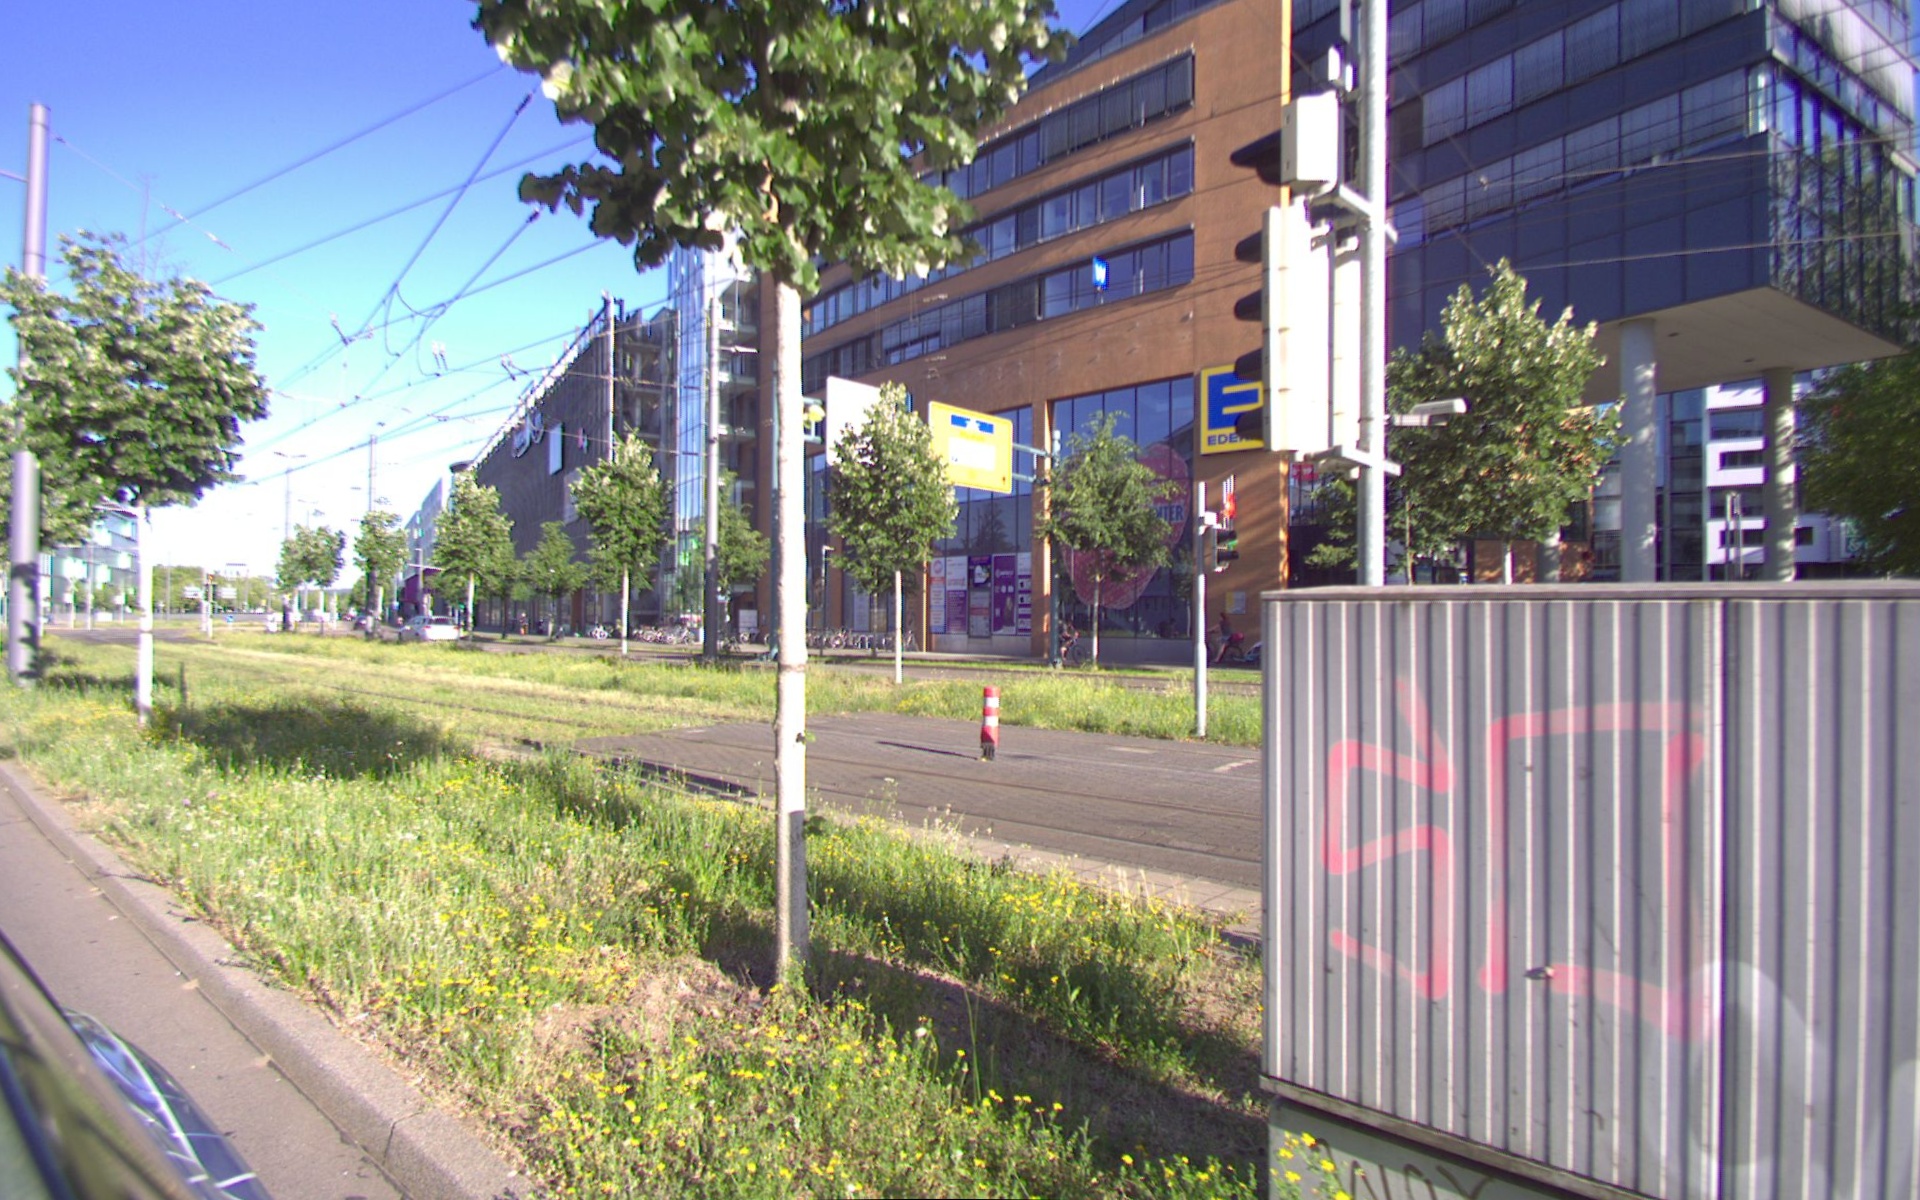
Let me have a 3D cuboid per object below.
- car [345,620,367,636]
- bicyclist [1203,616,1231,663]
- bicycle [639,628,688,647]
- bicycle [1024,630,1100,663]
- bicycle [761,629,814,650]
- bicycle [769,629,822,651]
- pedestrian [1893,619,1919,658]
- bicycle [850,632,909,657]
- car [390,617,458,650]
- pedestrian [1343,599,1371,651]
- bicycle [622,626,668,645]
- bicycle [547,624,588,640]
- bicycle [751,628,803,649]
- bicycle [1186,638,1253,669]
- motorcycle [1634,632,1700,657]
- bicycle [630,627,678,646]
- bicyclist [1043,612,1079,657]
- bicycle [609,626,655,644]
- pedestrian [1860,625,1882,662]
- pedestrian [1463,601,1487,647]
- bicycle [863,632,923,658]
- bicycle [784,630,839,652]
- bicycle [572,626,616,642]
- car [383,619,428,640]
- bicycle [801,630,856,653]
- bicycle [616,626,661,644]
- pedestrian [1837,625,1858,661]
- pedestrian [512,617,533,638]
[{"bbox_3d":[-59.965,2.779,100.402,1.600,1.539,4.367,2,-2,-34],"label":"car"},{"bbox_3d":[8.494,1.295,33.449,0.702,1.541,0.682,-1,-2,40],"label":"bicyclist"},{"bbox_3d":[-17.630,2.206,60.240,2.648,1.112,0.897,1,-2,-38],"label":"bicycle"},{"bbox_3d":[3.590,1.642,35.948,2.691,1.112,0.883,-2,-3,42],"label":"bicycle"},{"bbox_3d":[-9.059,2.064,53.315,2.648,1.112,0.897,1,-2,-38],"label":"bicycle"},{"bbox_3d":[-8.460,2.050,52.126,2.648,1.112,0.897,1,-2,-38],"label":"bicycle"},{"bbox_3d":[40.854,1.657,43.567,0.721,1.635,0.701,1,-1,-18],"label":"pedestrian"},{"bbox_3d":[-3.651,2.022,46.121,2.648,1.112,0.897,1,-2,-38],"label":"bicycle"},{"bbox_3d":[-25.963,1.577,48.912,1.603,1.539,4.806,1,-2,-44],"label":"car"},{"bbox_3d":[13.488,0.845,34.362,0.698,1.718,0.724,-1,-2,40],"label":"pedestrian"},{"bbox_3d":[-19.704,2.214,63.316,2.648,1.112,0.897,1,-2,-38],"label":"bicycle"},{"bbox_3d":[-28.410,2.314,73.290,2.648,1.198,0.897,1,-2,-38],"label":"bicycle"},{"bbox_3d":[-9.783,2.070,54.254,2.648,1.112,0.897,1,-2,-38],"label":"bicycle"},{"bbox_3d":[8.551,1.738,33.392,2.066,0.957,0.682,-1,-2,41],"label":"bicycle"},{"bbox_3d":[32.773,2.043,46.941,0.819,1.066,2.347,1,-2,-40],"label":"motorcycle"},{"bbox_3d":[-18.704,2.210,61.870,2.648,1.112,0.897,1,-2,-38],"label":"bicycle"},{"bbox_3d":[3.588,1.237,35.963,0.939,1.560,0.883,-2,-3,42],"label":"bicyclist"},{"bbox_3d":[-20.953,2.226,64.758,2.648,1.112,0.897,1,-2,-38],"label":"bicycle"},{"bbox_3d":[42.866,2.021,47.642,0.698,1.727,0.724,-1,-2,38],"label":"pedestrian"},{"bbox_3d":[19.774,0.924,38.855,0.698,1.718,0.724,-1,-2,40],"label":"pedestrian"},{"bbox_3d":[-3.000,1.993,45.299,2.648,1.112,0.897,1,-2,-38],"label":"bicycle"},{"bbox_3d":[-7.432,2.046,50.806,2.648,1.112,0.897,1,-2,-38],"label":"bicycle"},{"bbox_3d":[-24.874,2.298,68.854,2.648,1.112,0.897,1,-2,-38],"label":"bicycle"},{"bbox_3d":[-42.168,2.254,76.934,4.354,1.539,1.604,-1,-3,42],"label":"car"},{"bbox_3d":[-6.465,2.040,49.876,2.648,1.112,0.897,1,-2,-38],"label":"bicycle"},{"bbox_3d":[-20.340,2.218,64.073,2.648,1.112,0.827,1,-2,-38],"label":"bicycle"},{"bbox_3d":[42.199,2.036,48.114,0.698,1.727,0.724,-1,-2,38],"label":"pedestrian"},{"bbox_3d":[-34.377,2.148,79.498,1.093,1.694,1.059,-1,-2,35],"label":"pedestrian"}]
